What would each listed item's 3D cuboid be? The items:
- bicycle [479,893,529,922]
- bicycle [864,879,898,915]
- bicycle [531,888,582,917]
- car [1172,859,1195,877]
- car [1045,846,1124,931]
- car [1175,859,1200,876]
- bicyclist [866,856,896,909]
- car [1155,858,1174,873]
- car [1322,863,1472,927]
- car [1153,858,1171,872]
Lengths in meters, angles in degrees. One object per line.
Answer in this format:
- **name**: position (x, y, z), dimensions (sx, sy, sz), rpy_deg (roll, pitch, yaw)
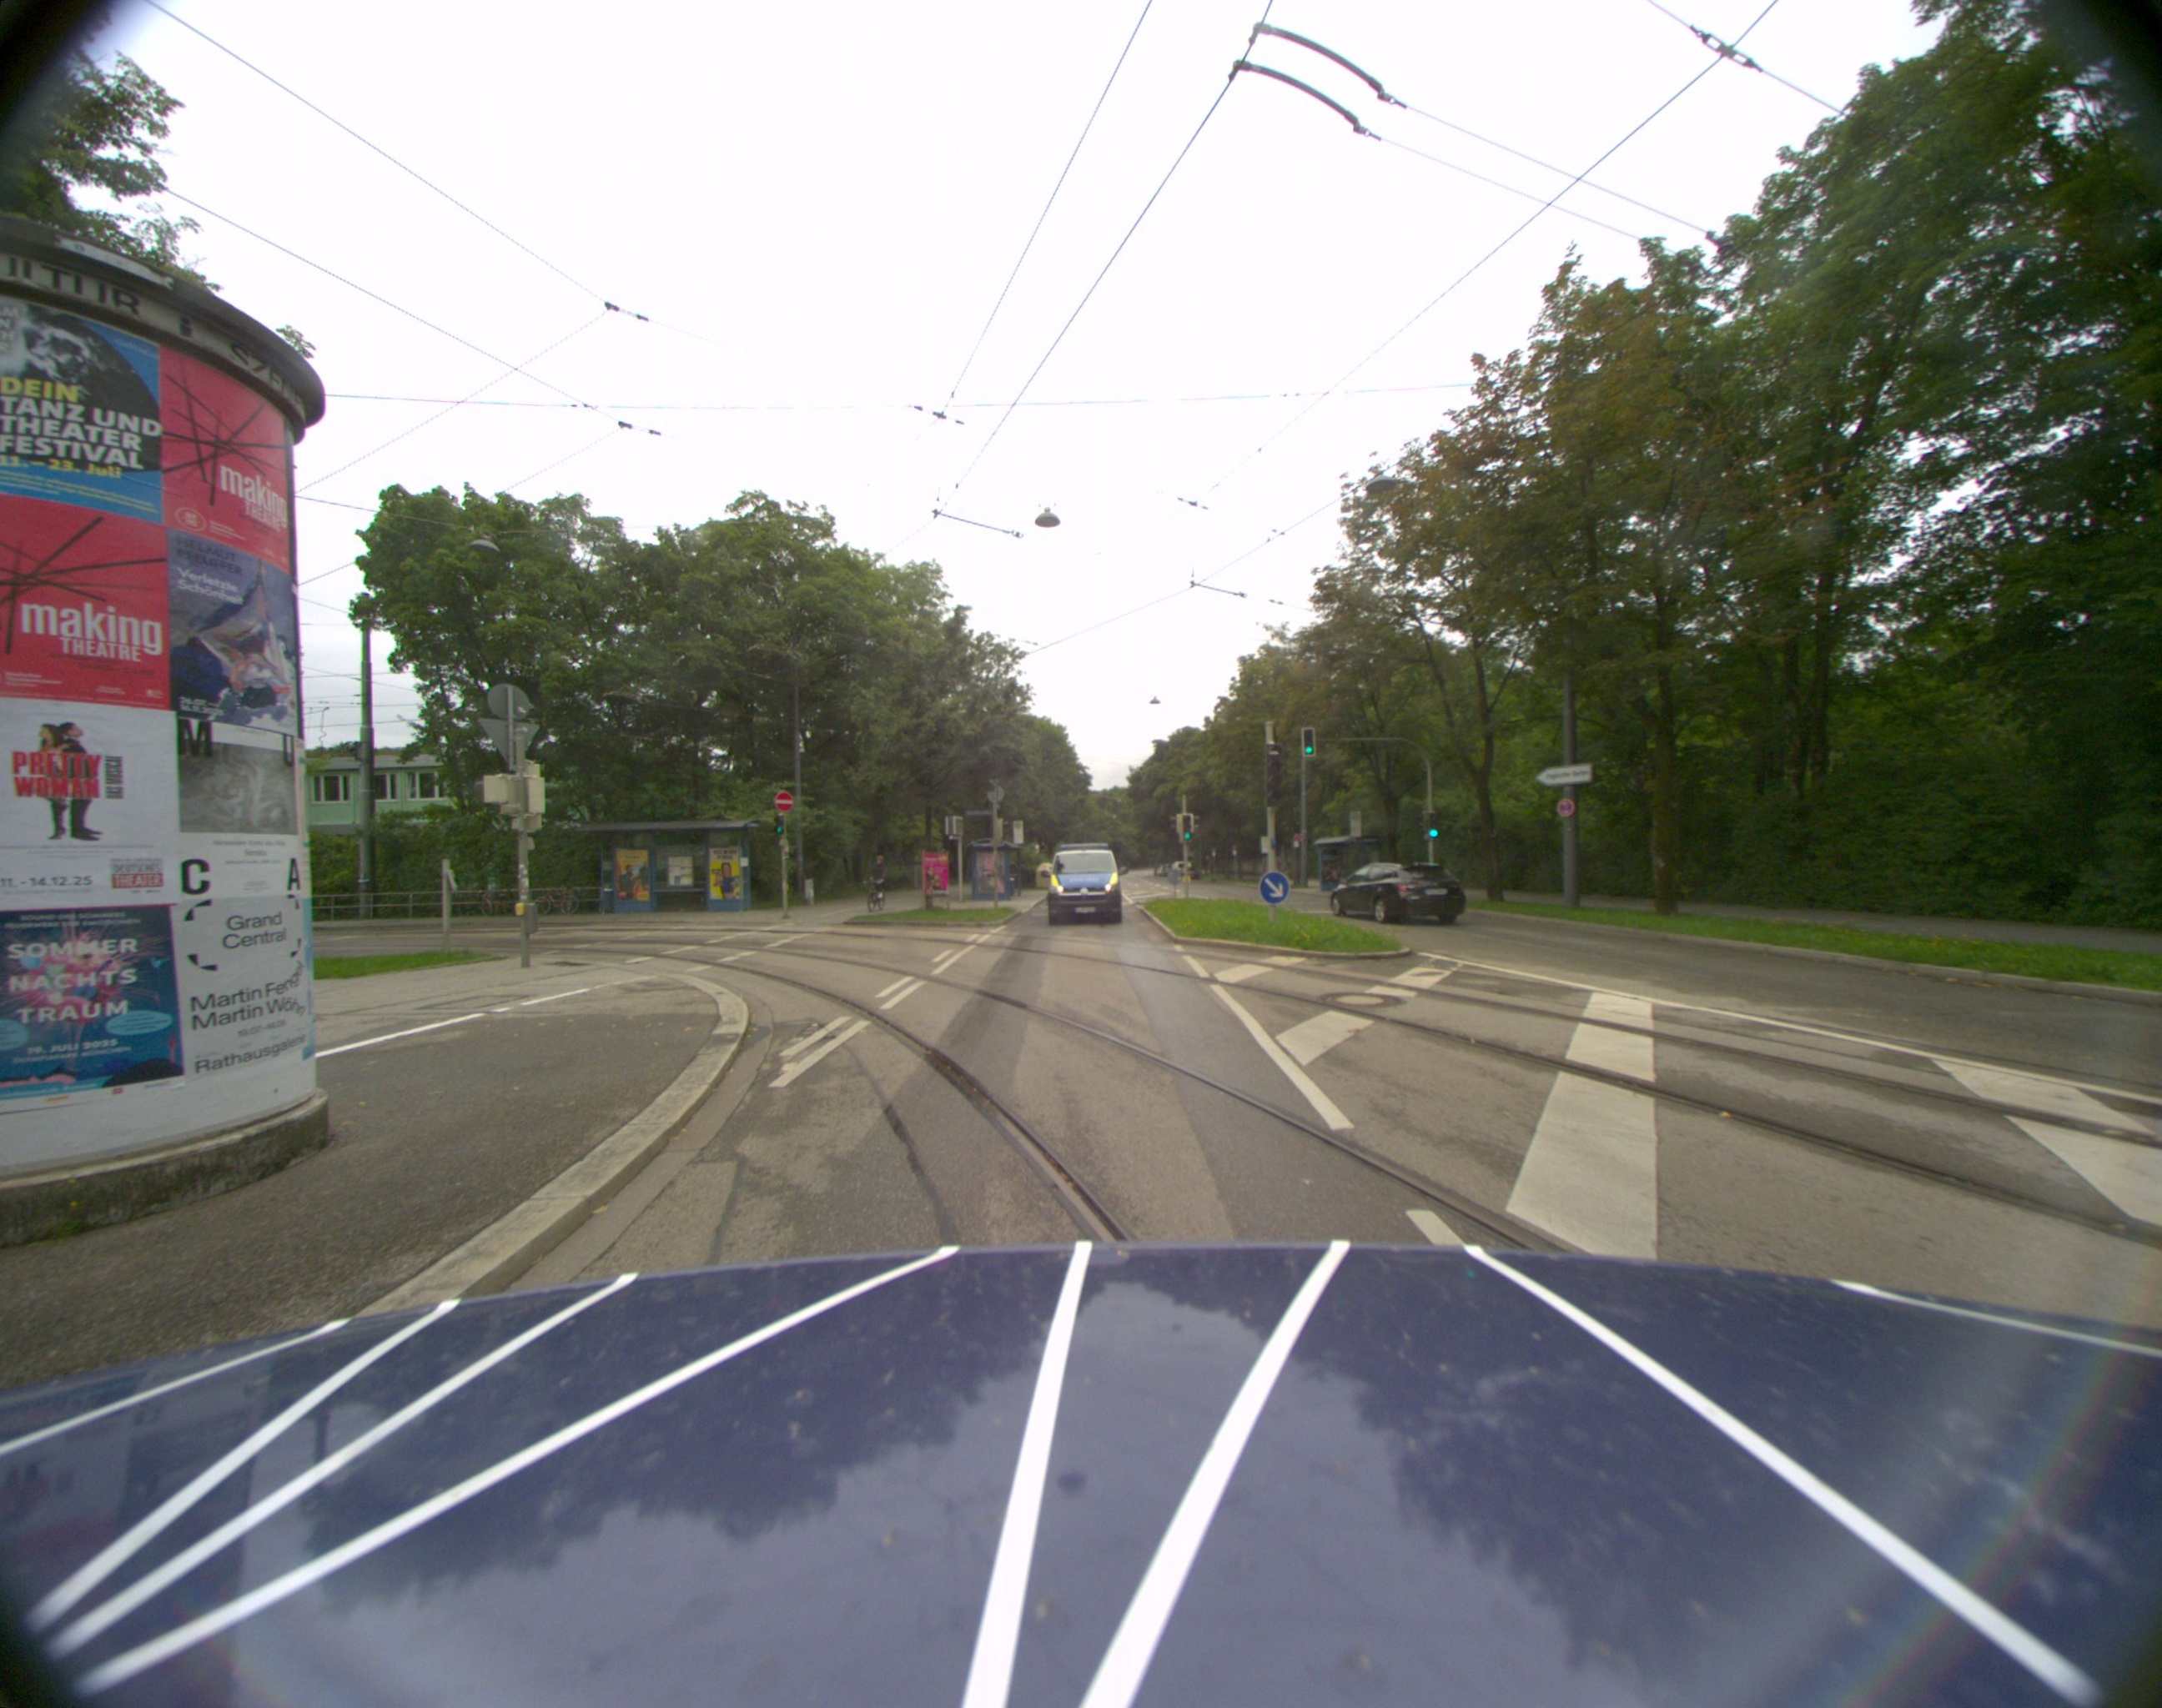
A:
- **bicycle**: position (-20.079, 1.864, 26.441), dimensions (1.483, 0.946, 0.373), rpy_deg (-2, 1, 4)
- **bicycle**: position (-6.737, 1.422, 25.676), dimensions (0.580, 1.072, 1.912), rpy_deg (-3, 1, 0)
- **bicycle**: position (-18.073, 1.671, 26.181), dimensions (1.483, 0.946, 0.373), rpy_deg (-2, 1, 4)
- **car**: position (10.914, 1.464, 81.243), dimensions (1.888, 1.716, 3.999), rpy_deg (-3, 1, 0)
- **car**: position (0.100, 0.815, 21.406), dimensions (1.903, 2.041, 5.708), rpy_deg (-1, 0, 0)
- **car**: position (10.590, 1.311, 75.527), dimensions (1.888, 1.532, 3.999), rpy_deg (-3, 0, 0)
- **bicyclist**: position (-6.764, 0.958, 25.713), dimensions (0.726, 1.719, 0.726), rpy_deg (-3, 1, -1)
- **car**: position (10.478, 1.399, 95.920), dimensions (1.888, 1.716, 3.999), rpy_deg (-3, 1, 0)
- **car**: position (7.735, 0.934, 19.166), dimensions (1.628, 1.380, 4.839), rpy_deg (1, 0, -2)
- **car**: position (10.706, 1.445, 101.061), dimensions (1.888, 1.716, 3.999), rpy_deg (-3, 1, 0)
